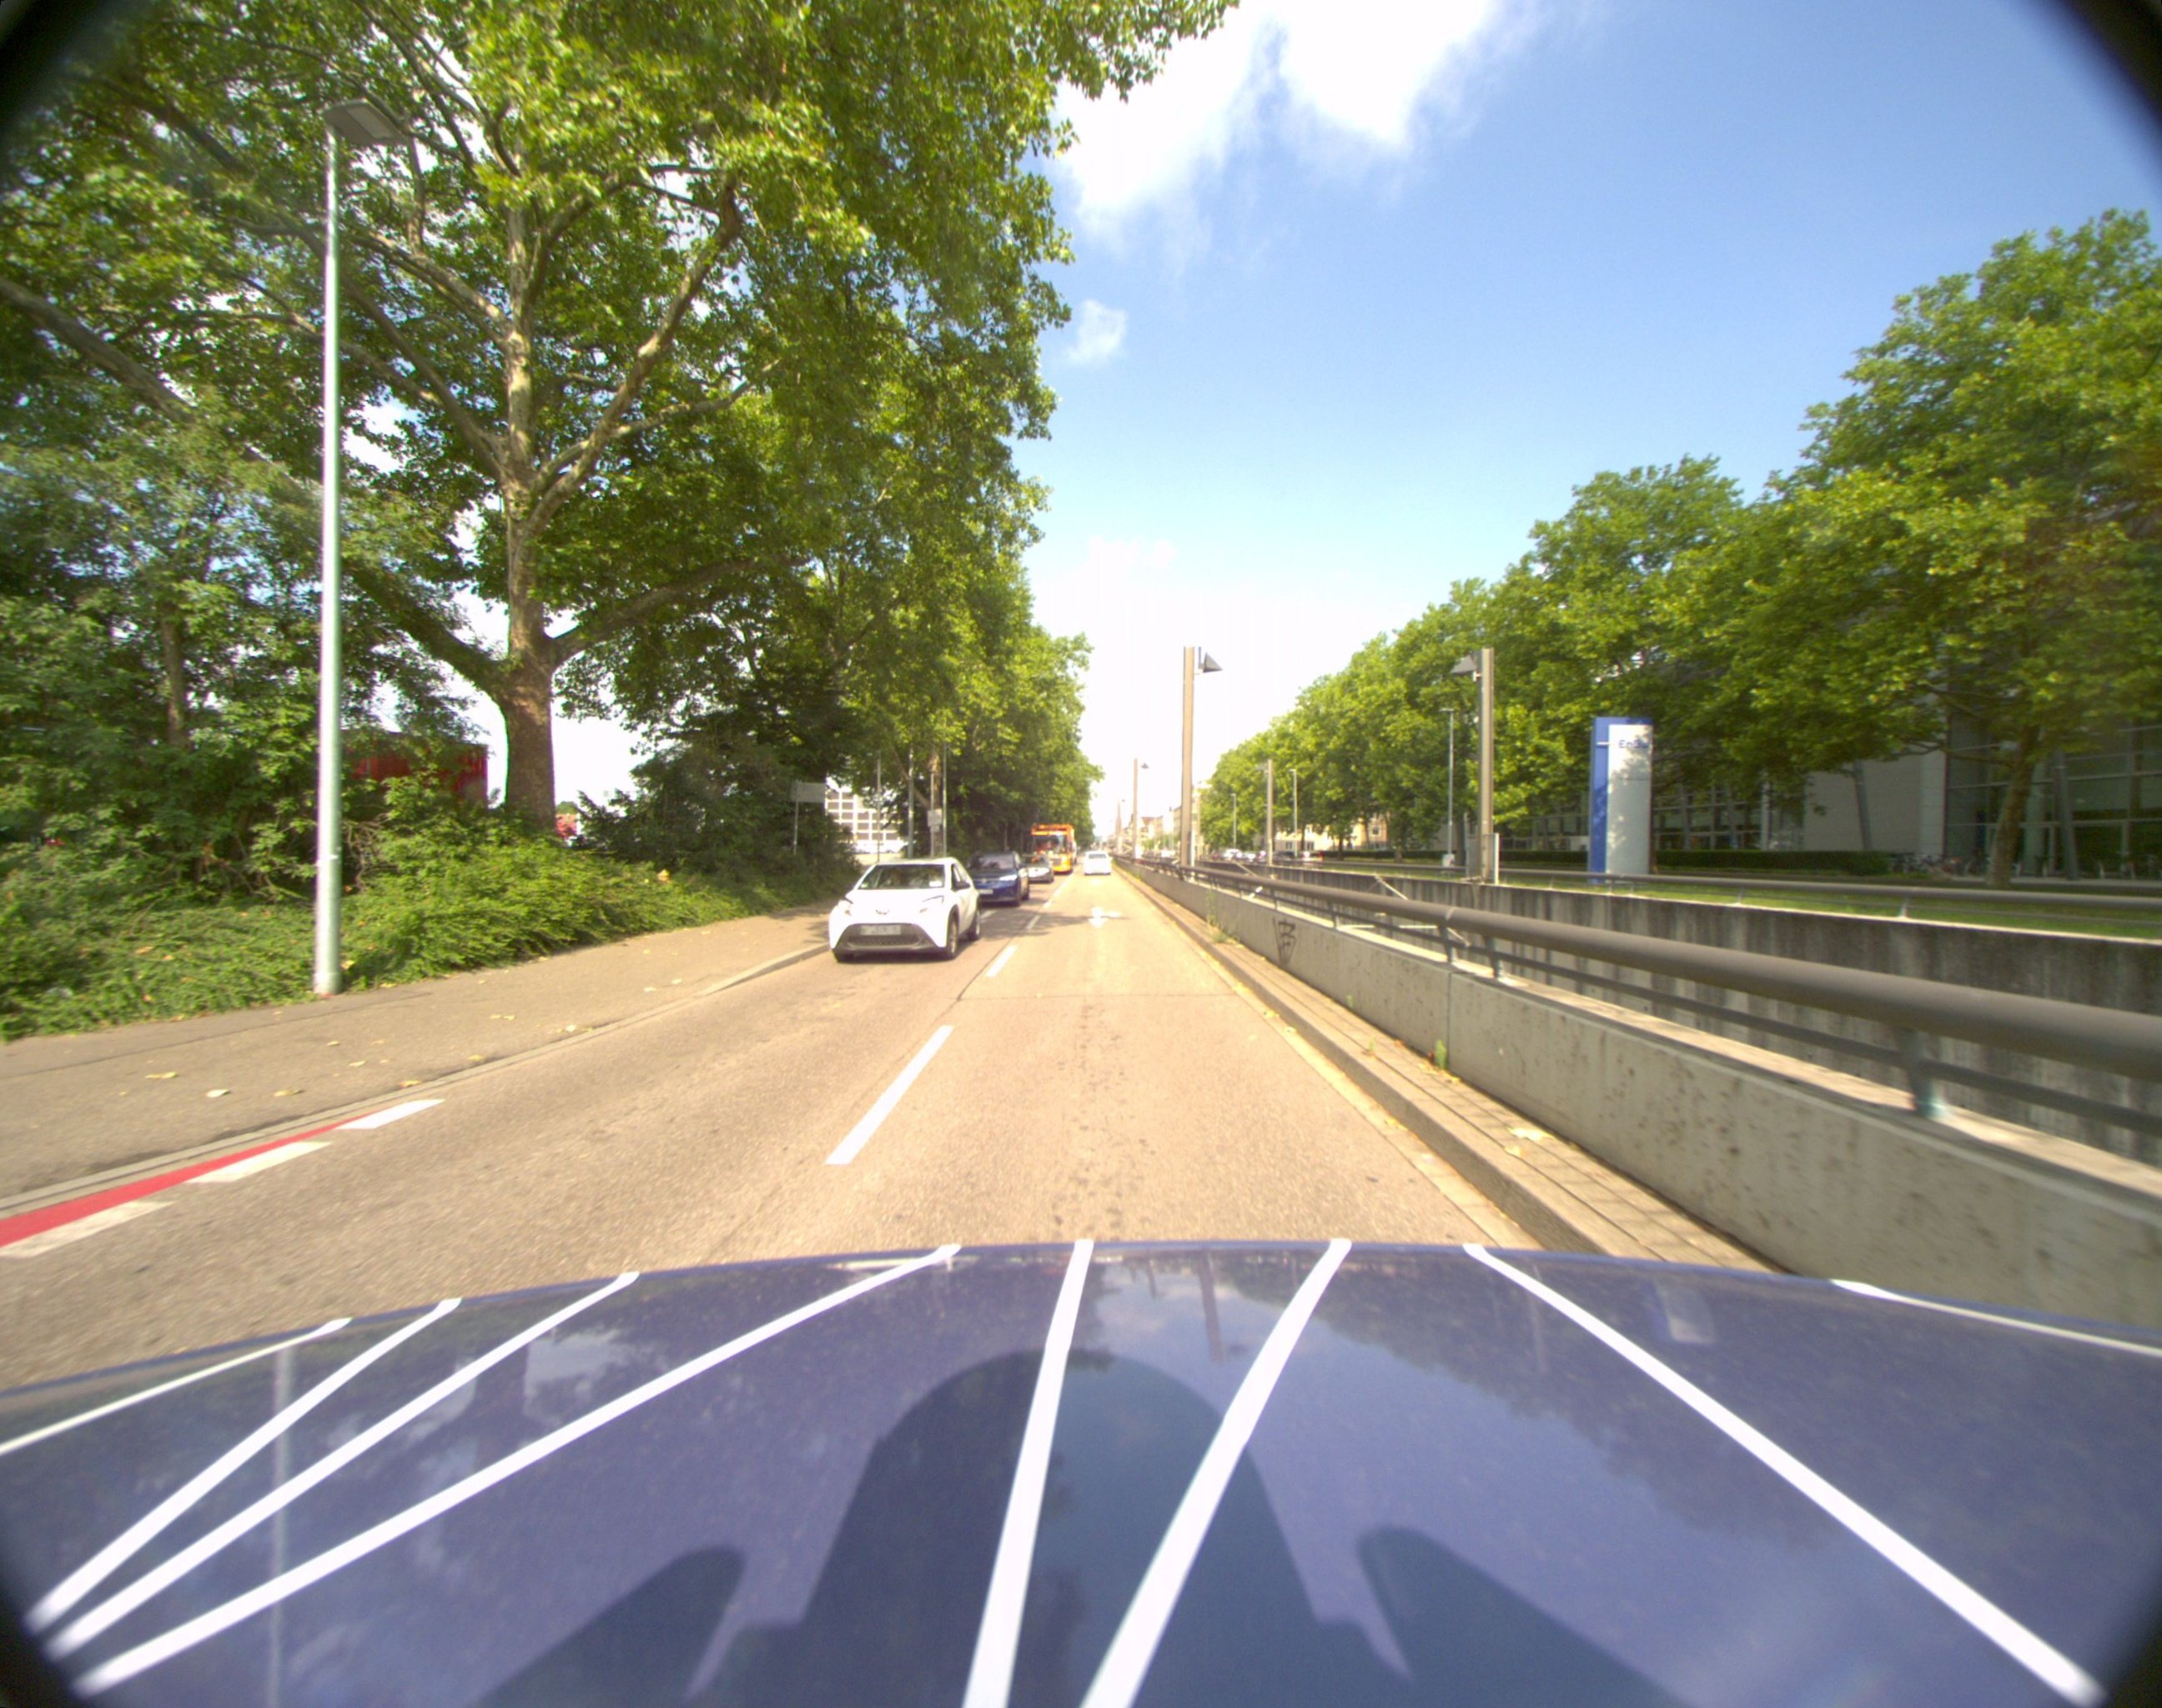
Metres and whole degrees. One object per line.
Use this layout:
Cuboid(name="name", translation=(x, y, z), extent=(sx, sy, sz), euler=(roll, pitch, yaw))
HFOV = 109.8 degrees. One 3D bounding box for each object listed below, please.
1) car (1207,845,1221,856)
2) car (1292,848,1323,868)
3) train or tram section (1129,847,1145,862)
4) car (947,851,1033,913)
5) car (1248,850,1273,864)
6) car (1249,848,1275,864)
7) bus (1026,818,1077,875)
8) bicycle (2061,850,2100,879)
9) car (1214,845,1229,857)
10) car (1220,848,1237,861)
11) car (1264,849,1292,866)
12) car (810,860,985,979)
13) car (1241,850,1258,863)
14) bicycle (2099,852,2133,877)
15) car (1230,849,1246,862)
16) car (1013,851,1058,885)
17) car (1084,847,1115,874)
Cuboid(name="car", translation=(16.738, -0.479, 95.937), extent=(1.309, 1.368, 3.185), euler=(0, 1, 1))
Cuboid(name="car", translation=(16.898, 0.270, 56.729), extent=(1.420, 1.447, 3.157), euler=(0, 1, 1))
Cuboid(name="train or tram section", translation=(9.868, 0.052, 134.466), extent=(2.216, 2.444, 6.248), euler=(-2, 1, 1))
Cuboid(name="car", translation=(-2.622, 0.758, 23.004), extent=(1.891, 1.566, 4.580), euler=(-2, 1, 1))
Cuboid(name="car", translation=(16.584, 0.261, 70.479), extent=(1.611, 1.198, 3.127), euler=(0, 1, 0))
Cuboid(name="car", translation=(16.890, 0.167, 70.899), extent=(1.579, 1.368, 3.896), euler=(0, 1, 1))
Cuboid(name="bus", translation=(-1.831, -0.530, 52.087), extent=(2.744, 3.446, 10.394), euler=(-2, 1, 1))
Cuboid(name="bicycle", translation=(42.965, 0.446, 32.689), extent=(2.343, 1.170, 0.812), euler=(-1, 1, -42))
Cuboid(name="car", translation=(16.759, -0.360, 90.637), extent=(1.309, 1.368, 3.185), euler=(0, 1, 1))
Cuboid(name="car", translation=(16.526, 0.014, 85.198), extent=(1.309, 1.368, 3.185), euler=(0, 1, 1))
Cuboid(name="car", translation=(16.482, 0.278, 63.802), extent=(1.582, 1.426, 3.157), euler=(0, 1, 1))
Cuboid(name="car", translation=(-2.702, 0.900, 12.092), extent=(1.749, 1.471, 3.798), euler=(-1, 1, 1))
Cuboid(name="car", translation=(16.624, 0.228, 75.030), extent=(1.181, 1.236, 2.549), euler=(-1, 1, 1))
Cuboid(name="bicycle", translation=(43.502, 0.429, 31.954), extent=(2.343, 1.017, 0.593), euler=(-1, 1, -42))
Cuboid(name="car", translation=(16.624, 0.136, 80.676), extent=(1.167, 1.368, 2.745), euler=(0, 1, 1))
Cuboid(name="car", translation=(-2.158, 0.638, 36.892), extent=(1.771, 1.455, 4.000), euler=(-2, 1, 1))
Cuboid(name="car", translation=(1.138, 0.377, 48.475), extent=(1.737, 1.478, 3.600), euler=(-5, 2, -1))
